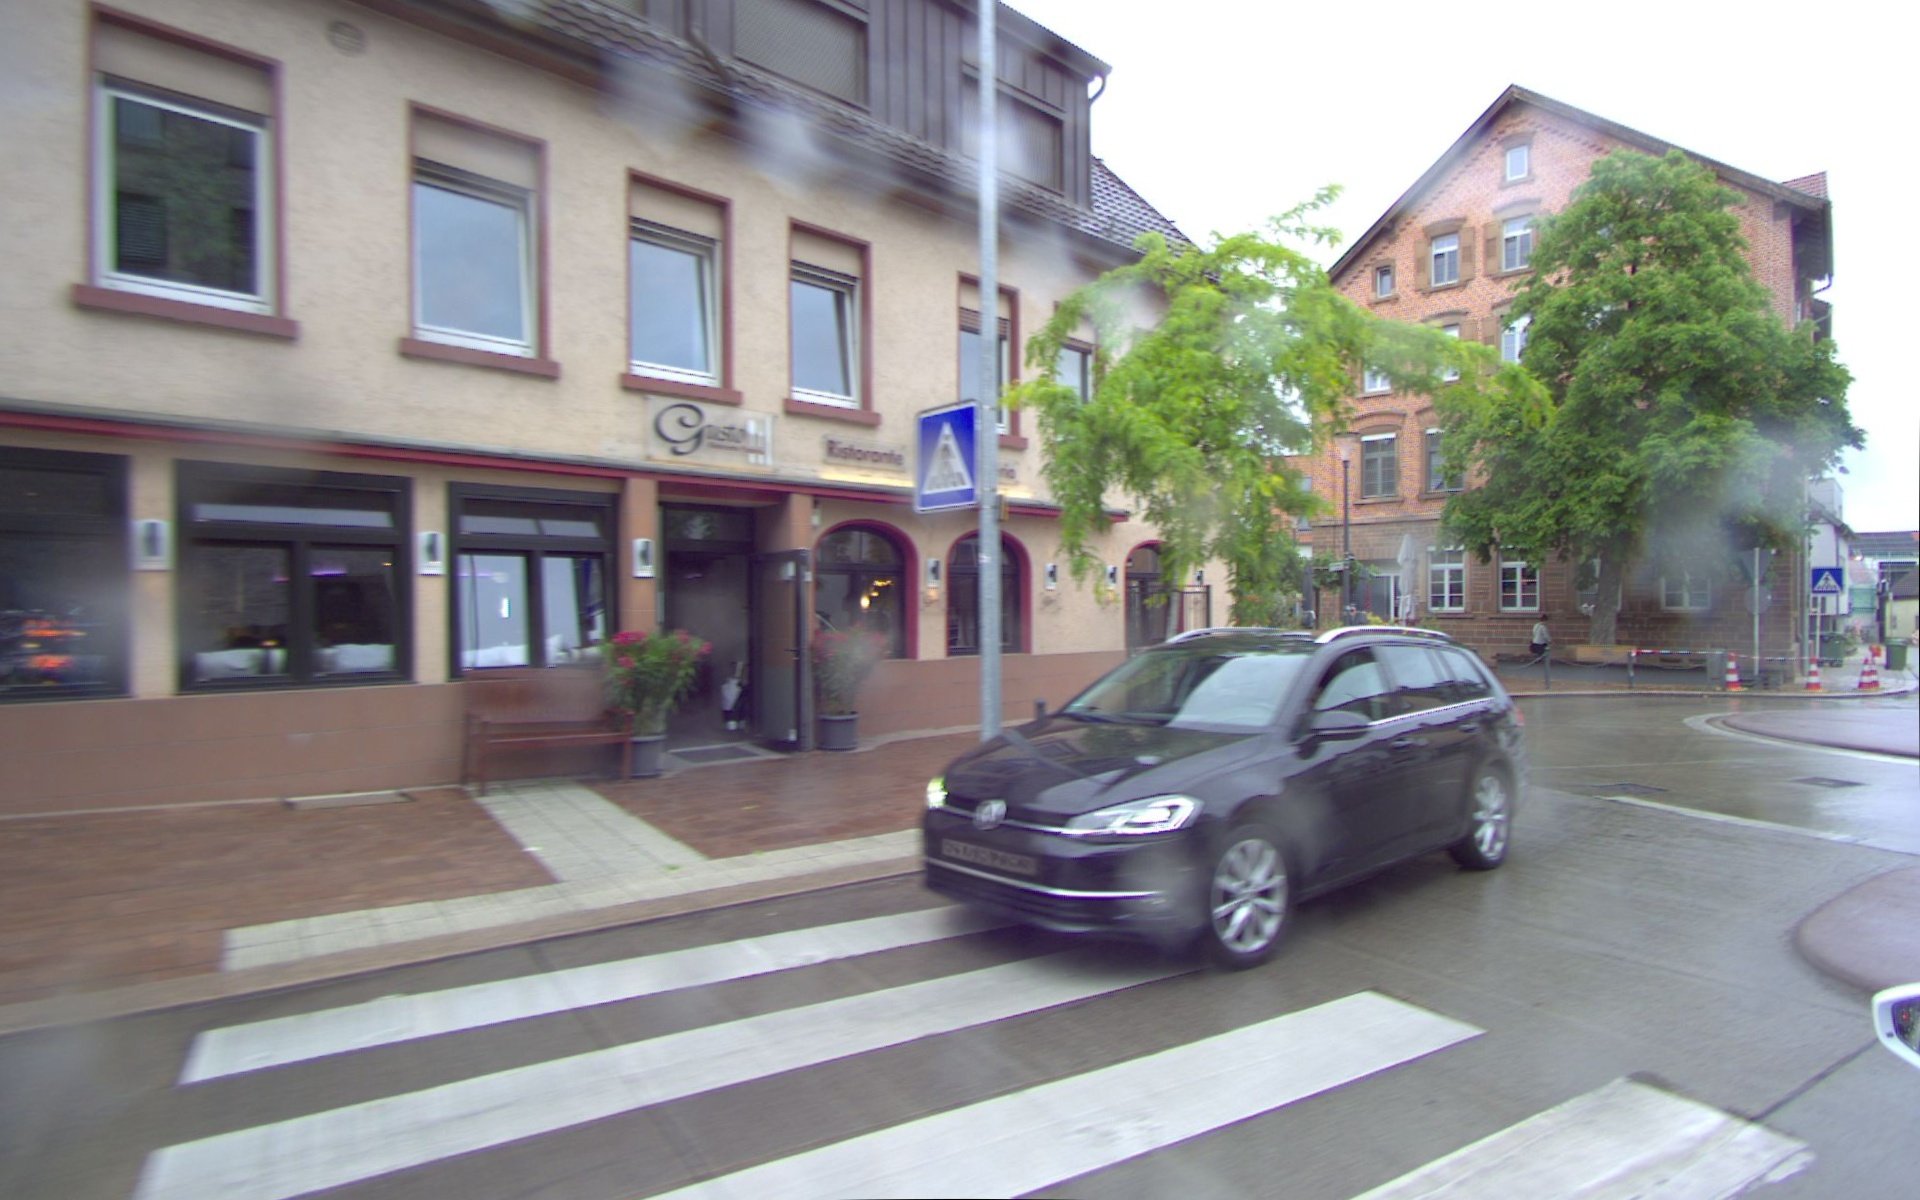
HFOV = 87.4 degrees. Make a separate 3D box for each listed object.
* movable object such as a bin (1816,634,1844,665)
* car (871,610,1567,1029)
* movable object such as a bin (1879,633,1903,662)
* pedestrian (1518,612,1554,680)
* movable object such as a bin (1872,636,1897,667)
[{"bbox_3d":[34.393,1.943,39.716,0.739,1.184,0.629,2,0,38],"label":"movable object such as a bin"},{"bbox_3d":[1.785,0.837,5.839,4.435,1.528,1.770,1,-1,-42],"label":"car"},{"bbox_3d":[40.113,2.038,43.283,0.646,1.184,0.778,2,0,39],"label":"movable object such as a bin"},{"bbox_3d":[16.693,1.325,29.103,0.828,1.911,0.823,2,0,33],"label":"pedestrian"},{"bbox_3d":[36.581,2.041,39.747,0.619,1.188,0.758,2,0,39],"label":"movable object such as a bin"}]
